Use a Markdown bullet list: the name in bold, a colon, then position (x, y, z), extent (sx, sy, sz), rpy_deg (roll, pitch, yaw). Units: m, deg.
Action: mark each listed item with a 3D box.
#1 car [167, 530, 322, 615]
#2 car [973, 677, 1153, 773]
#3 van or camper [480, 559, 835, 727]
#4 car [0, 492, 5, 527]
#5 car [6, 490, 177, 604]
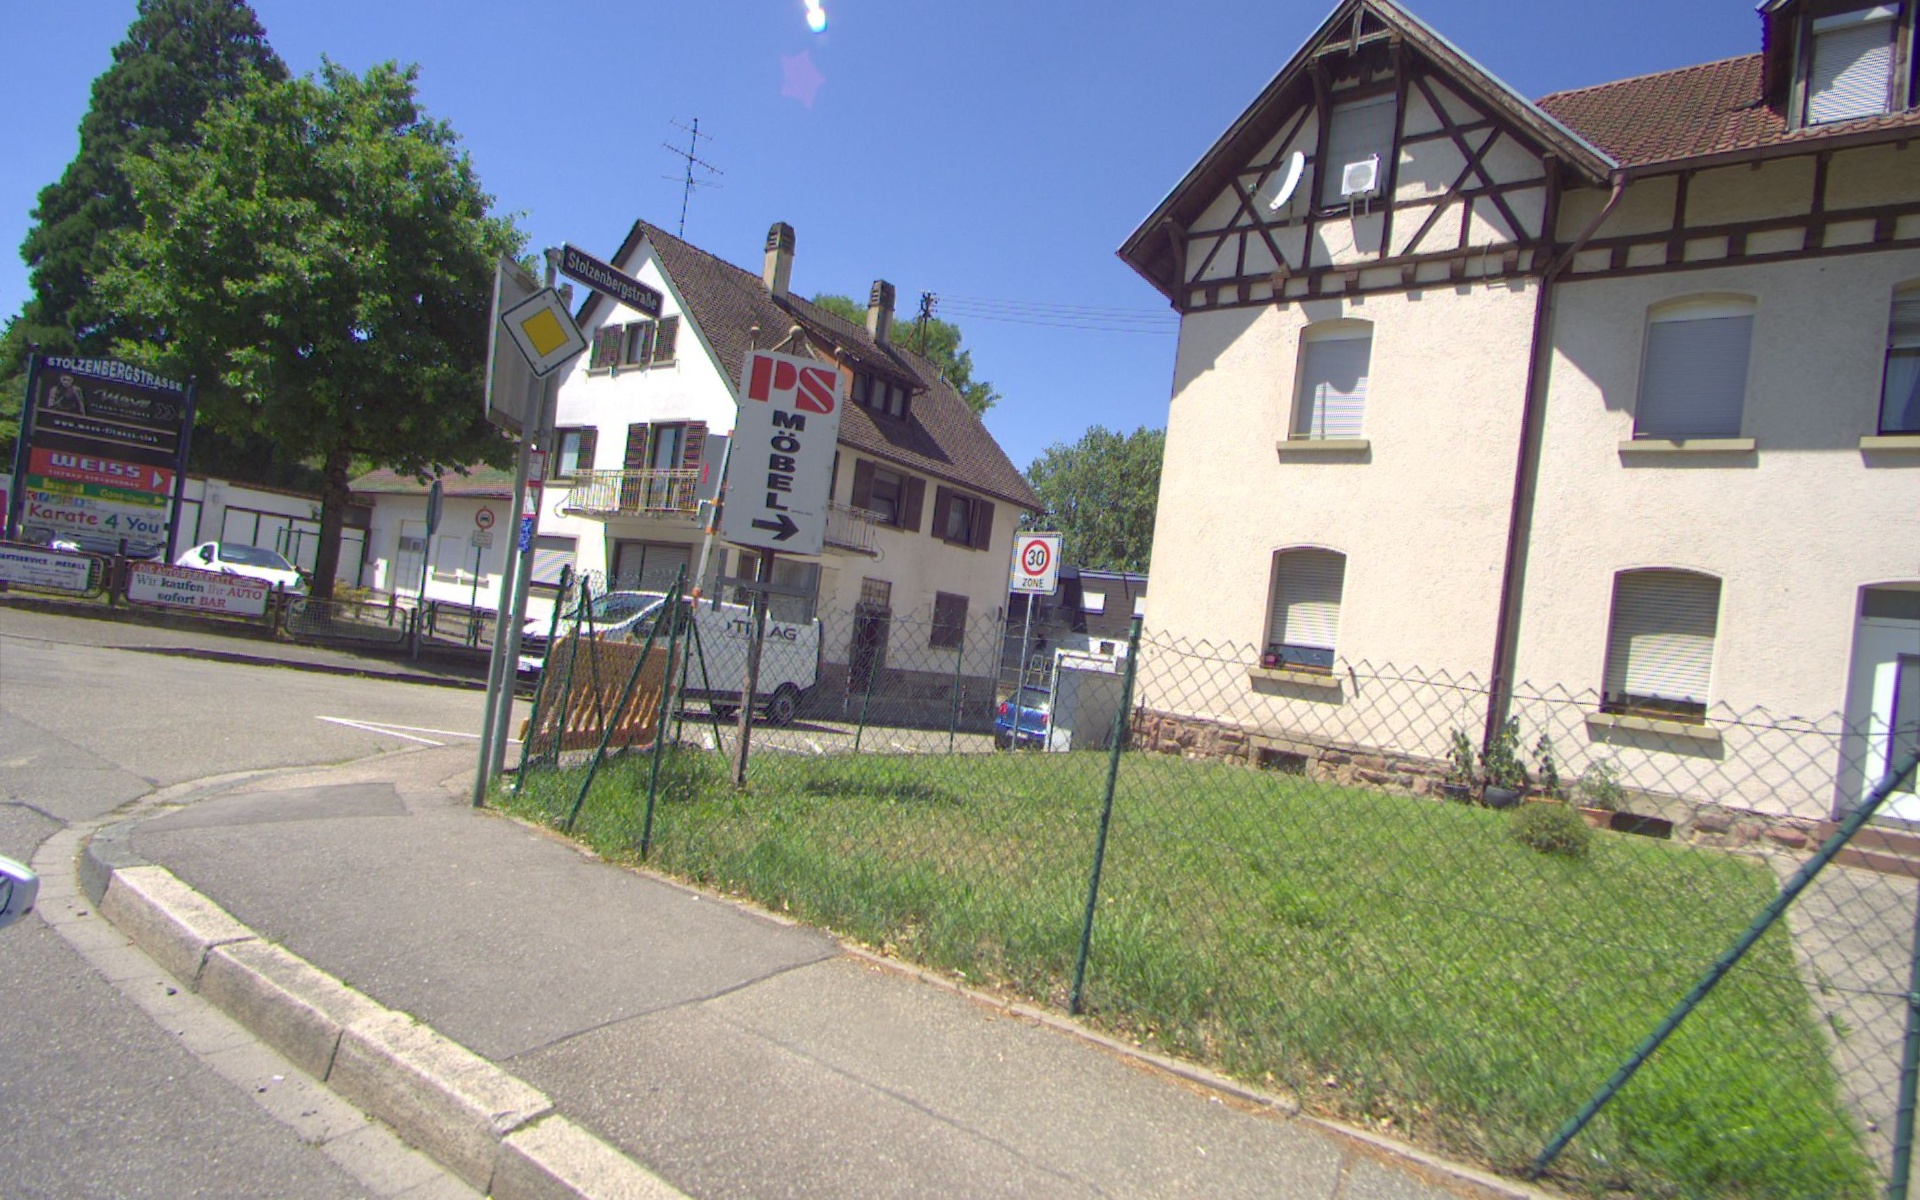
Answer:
- **car**: position (-15.104, -0.596, 21.189), extent (3.335, 1.284, 1.712), rpy_deg (7, -2, 39)
- **car**: position (2.220, 2.631, 20.804), extent (1.788, 1.459, 3.889), rpy_deg (7, -4, 38)
- **van or camper**: position (-4.798, 0.839, 16.839), extent (1.971, 1.998, 5.352), rpy_deg (5, -6, 39)
- **car**: position (-18.400, -1.348, 17.660), extent (3.782, 1.541, 1.712), rpy_deg (7, -2, 38)
- **car**: position (-16.923, -1.082, 19.522), extent (4.396, 1.683, 1.712), rpy_deg (7, -4, 41)
